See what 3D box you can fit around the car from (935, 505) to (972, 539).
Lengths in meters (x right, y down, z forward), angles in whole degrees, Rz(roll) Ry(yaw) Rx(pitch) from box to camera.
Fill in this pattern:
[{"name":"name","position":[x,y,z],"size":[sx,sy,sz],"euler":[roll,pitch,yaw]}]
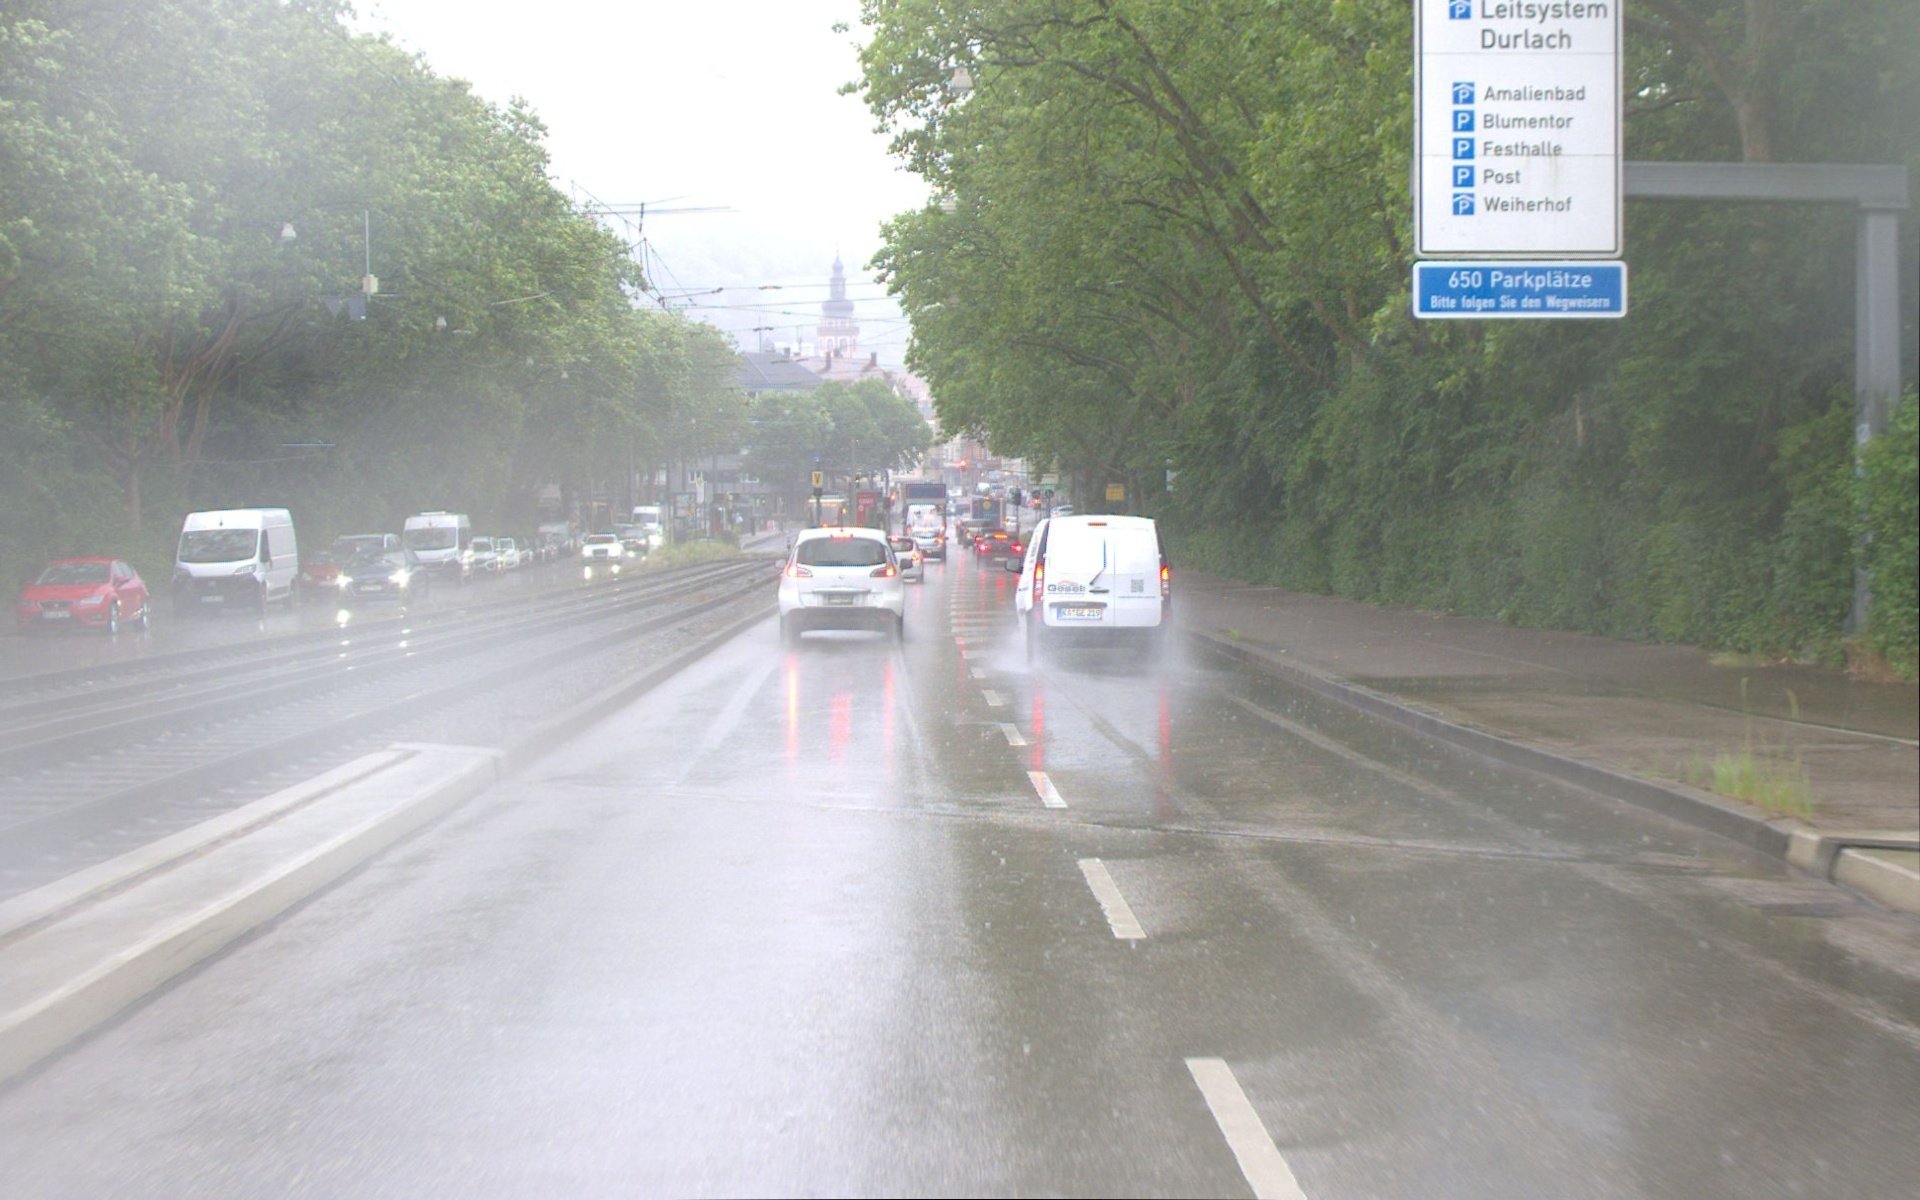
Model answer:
[{"name":"car","position":[-0.370,-4.447,195.708],"size":[1.993,1.820,4.000],"euler":[1,2,1]}]

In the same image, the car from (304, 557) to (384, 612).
[{"name":"car","position":[-17.187,-0.449,96.098],"size":[1.506,1.345,4.027],"euler":[-2,2,-1]}]

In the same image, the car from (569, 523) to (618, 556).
[{"name":"car","position":[-16.955,-2.815,159.063],"size":[1.805,1.345,4.264],"euler":[-2,2,-1]}]

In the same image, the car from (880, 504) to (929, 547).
[{"name":"car","position":[-2.436,-3.326,152.651],"size":[1.993,1.820,4.000],"euler":[1,2,1]}]

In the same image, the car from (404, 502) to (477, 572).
[{"name":"car","position":[-17.621,-2.165,116.781],"size":[1.800,2.214,4.278],"euler":[-2,2,-1]}]

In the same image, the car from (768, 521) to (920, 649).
[{"name":"car","position":[-1.652,-0.252,50.389],"size":[1.993,1.711,4.000],"euler":[1,2,1]}]

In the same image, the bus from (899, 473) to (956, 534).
[{"name":"bus","position":[-2.063,-6.324,223.111],"size":[3.389,3.823,9.739],"euler":[1,2,1]}]

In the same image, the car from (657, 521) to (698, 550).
[{"name":"car","position":[-14.537,-3.323,177.267],"size":[1.805,1.345,4.264],"euler":[-2,2,-1]}]

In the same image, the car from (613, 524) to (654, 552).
[{"name":"car","position":[-17.619,-3.352,185.540],"size":[1.805,1.345,4.264],"euler":[-2,2,-1]}]

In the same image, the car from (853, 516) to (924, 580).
[{"name":"car","position":[-2.160,-1.592,104.684],"size":[1.993,1.820,4.000],"euler":[1,2,1]}]

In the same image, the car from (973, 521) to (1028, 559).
[{"name":"car","position":[1.538,-2.271,129.254],"size":[1.993,1.316,4.000],"euler":[1,2,1]}]

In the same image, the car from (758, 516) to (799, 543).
[{"name":"car","position":[-10.421,-4.062,197.544],"size":[1.805,1.345,4.264],"euler":[-2,2,4]}]

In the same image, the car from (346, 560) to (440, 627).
[{"name":"car","position":[-13.911,-0.188,84.596],"size":[1.506,1.396,4.708],"euler":[-2,2,0]}]

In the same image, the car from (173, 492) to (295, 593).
[{"name":"car","position":[-16.929,-1.382,80.414],"size":[1.741,2.162,5.815],"euler":[-2,2,-2]}]

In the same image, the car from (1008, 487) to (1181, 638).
[{"name":"car","position":[1.618,-0.511,42.371],"size":[1.993,1.720,4.000],"euler":[1,2,1]}]

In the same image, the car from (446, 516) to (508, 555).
[{"name":"car","position":[-18.604,-2.487,132.662],"size":[1.805,1.345,4.264],"euler":[-2,2,-1]}]

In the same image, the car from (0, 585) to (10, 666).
[{"name":"car","position":[-16.210,0.509,53.802],"size":[1.506,1.288,4.096],"euler":[-2,2,0]}]

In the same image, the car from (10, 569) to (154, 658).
[{"name":"car","position":[-16.468,0.225,64.670],"size":[1.609,1.437,4.263],"euler":[-2,2,-1]}]
